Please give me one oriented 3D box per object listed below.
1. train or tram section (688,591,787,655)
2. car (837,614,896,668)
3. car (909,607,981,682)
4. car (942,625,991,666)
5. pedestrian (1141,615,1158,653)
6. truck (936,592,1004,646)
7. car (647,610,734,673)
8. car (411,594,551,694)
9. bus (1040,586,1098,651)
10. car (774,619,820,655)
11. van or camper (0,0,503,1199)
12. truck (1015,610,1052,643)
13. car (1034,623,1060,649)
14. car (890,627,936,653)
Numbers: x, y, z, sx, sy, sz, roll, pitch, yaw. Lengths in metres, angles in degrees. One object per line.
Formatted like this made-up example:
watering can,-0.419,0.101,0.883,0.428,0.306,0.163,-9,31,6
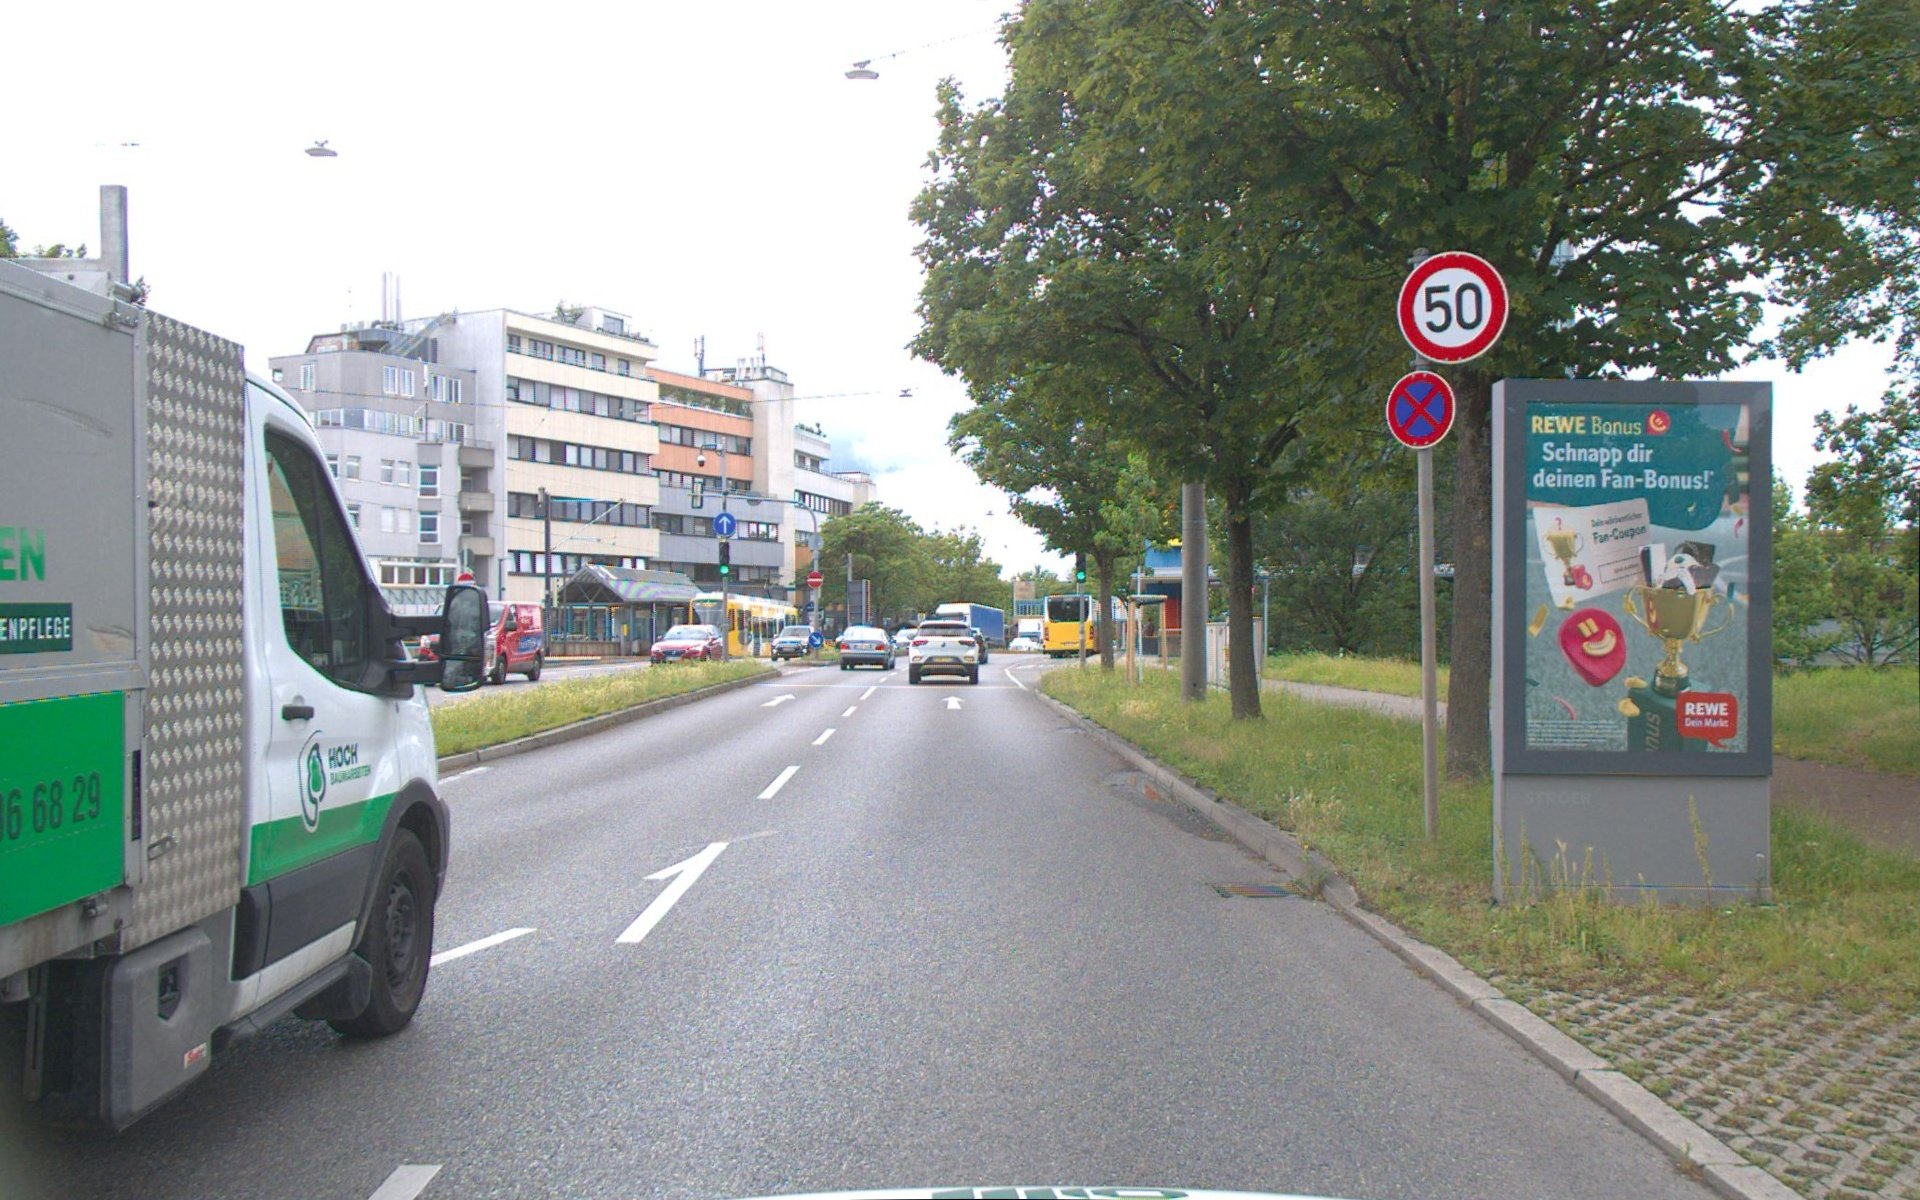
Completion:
train or tram section,-12.882,1.362,97.115,2.505,3.471,13.090,-1,-1,7
car,-3.118,1.357,55.600,1.664,1.542,3.738,0,3,2
car,-0.343,1.098,42.327,1.665,1.575,3.738,3,2,1
car,0.301,1.876,69.154,1.664,1.542,3.496,0,1,6
pedestrian,9.108,1.642,79.610,0.695,1.848,0.764,0,-1,-3
truck,0.998,1.556,136.398,2.891,4.151,16.615,0,-1,10
car,-8.455,1.269,52.304,1.953,1.618,4.835,2,2,-1
car,-11.394,0.987,39.691,1.953,2.048,4.835,2,2,-1
bus,5.699,0.986,87.705,2.892,3.246,9.931,0,-1,3
car,-6.748,1.545,68.774,1.581,1.471,3.652,0,-2,0
van or camper,-2.860,0.122,3.677,2.296,2.708,5.961,1,0,-3
truck,7.326,2.594,163.063,3.017,3.081,9.364,0,-1,6
car,6.122,2.521,116.166,1.733,1.598,4.288,0,2,4
car,-2.768,2.350,98.081,1.923,1.525,4.779,0,-1,9
